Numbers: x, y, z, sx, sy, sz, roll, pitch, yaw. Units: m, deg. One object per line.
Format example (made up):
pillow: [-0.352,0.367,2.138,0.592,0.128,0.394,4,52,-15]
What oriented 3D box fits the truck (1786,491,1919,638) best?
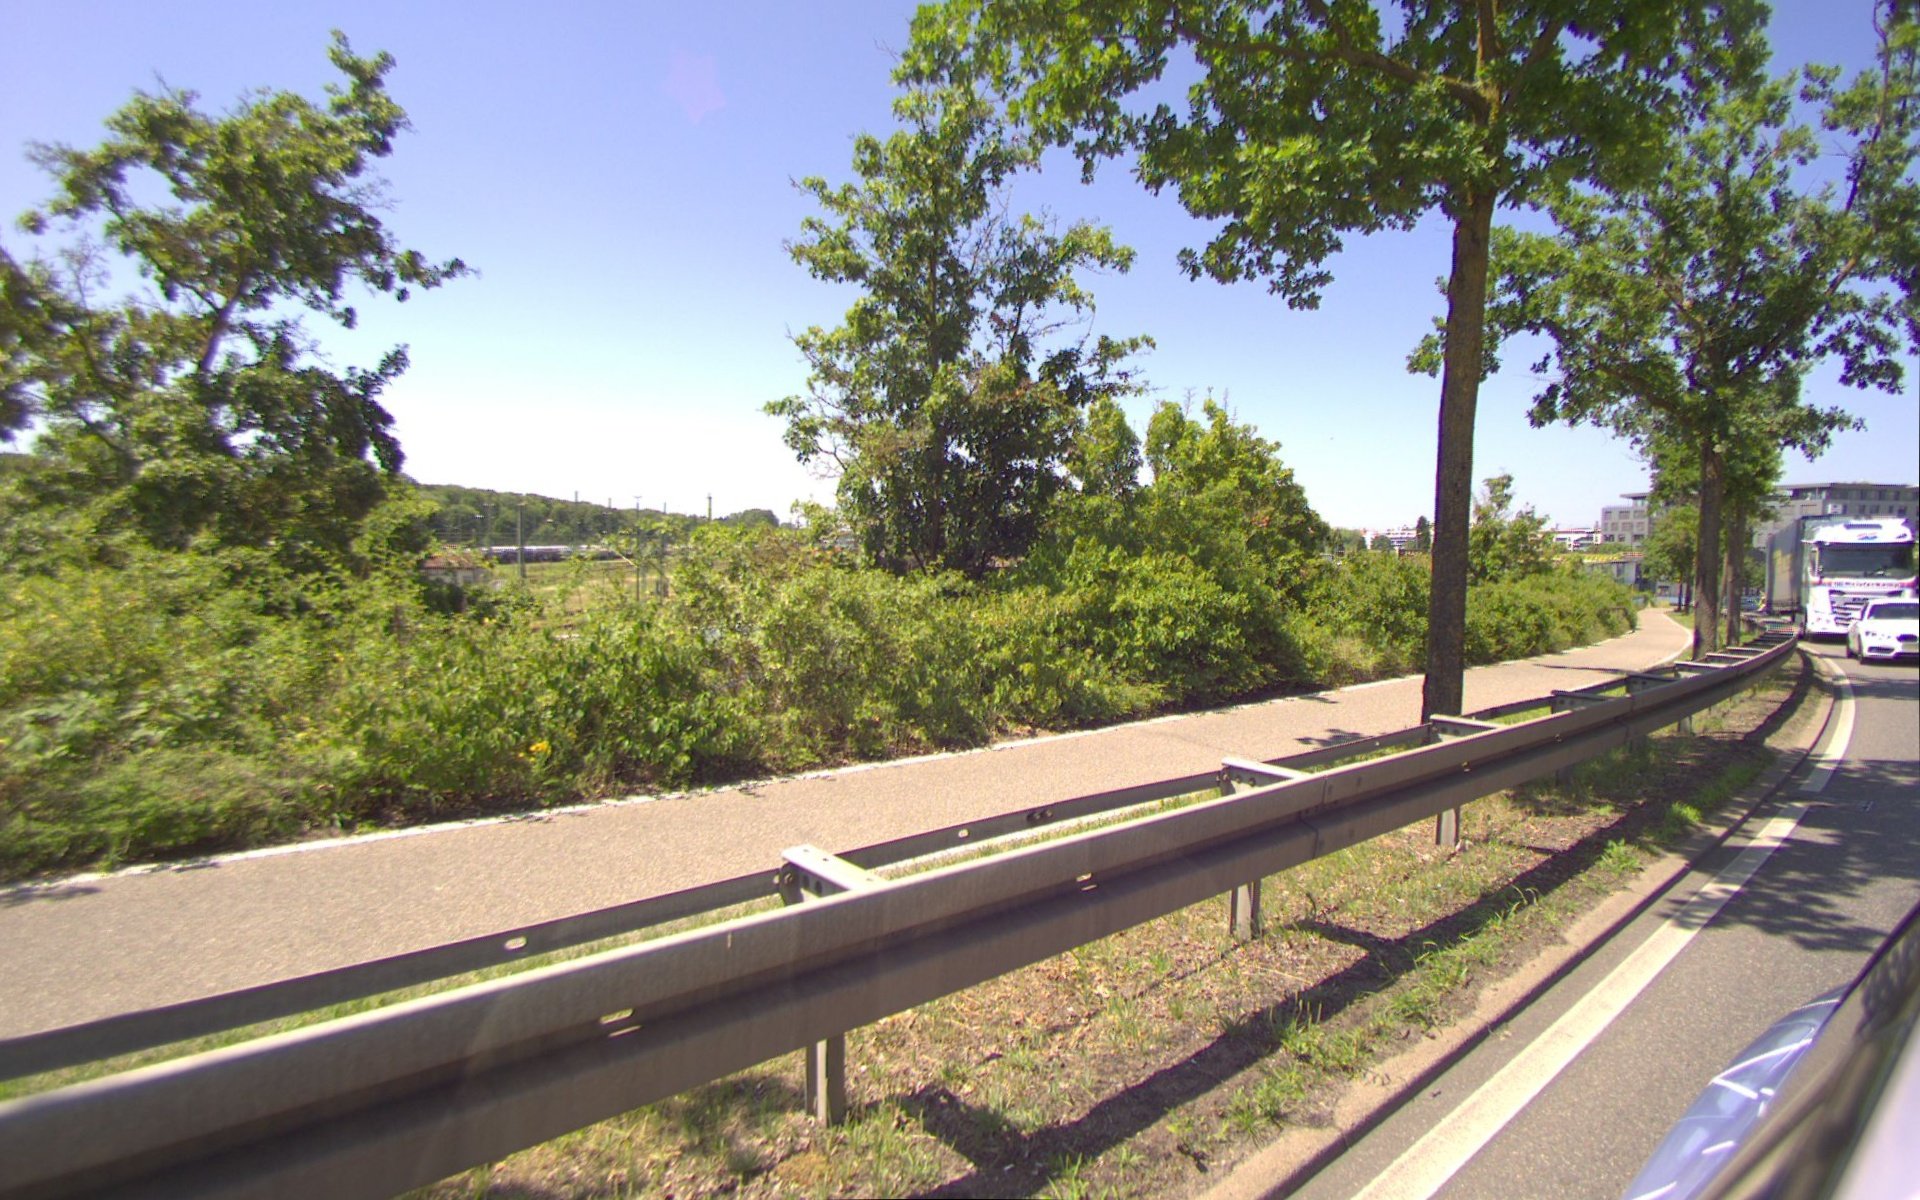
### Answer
truck: [29.980,-1.084,33.866,2.840,4.322,8.708,1,1,34]

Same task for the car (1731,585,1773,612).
car: [49.932,-0.113,63.851,1.966,1.596,3.946,1,1,37]

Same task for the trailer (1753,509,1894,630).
trailer: [35.641,-1.158,42.303,2.863,4.267,13.837,1,1,34]

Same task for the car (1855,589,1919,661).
car: [20.643,0.500,21.968,1.811,1.446,3.659,1,1,42]
